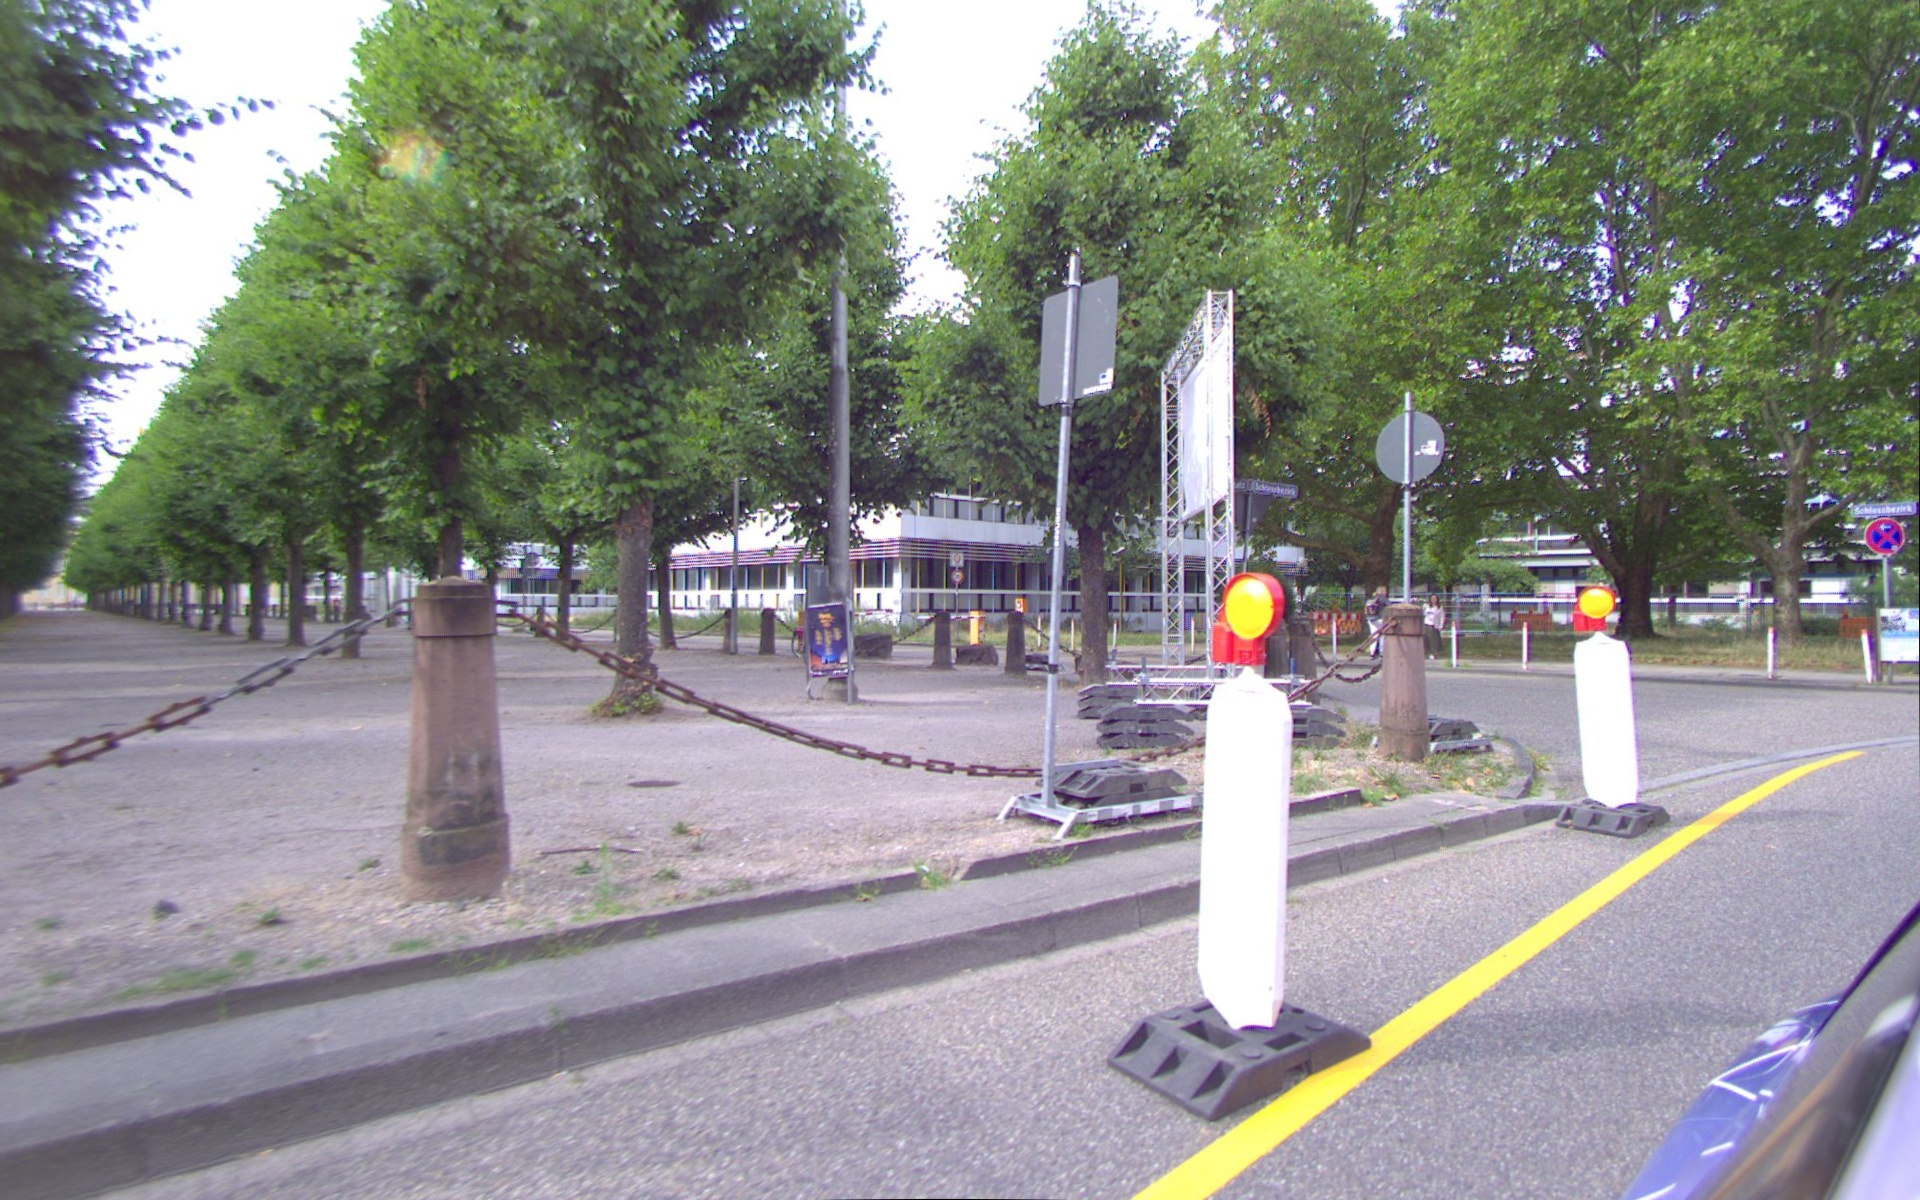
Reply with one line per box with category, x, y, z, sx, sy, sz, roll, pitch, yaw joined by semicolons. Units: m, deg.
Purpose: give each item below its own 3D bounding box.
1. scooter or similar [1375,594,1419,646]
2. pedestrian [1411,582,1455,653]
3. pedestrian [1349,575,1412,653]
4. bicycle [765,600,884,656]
scooter or similar;11.158;0.526;25.829;0.568;1.285;1.432;0;-2;43
pedestrian;11.311;0.416;24.179;0.890;1.662;0.844;1;-1;28
pedestrian;9.844;0.340;23.683;0.960;1.764;1.235;0;-2;44
bicycle;-3.017;0.597;22.396;2.558;1.124;0.945;1;-1;30
